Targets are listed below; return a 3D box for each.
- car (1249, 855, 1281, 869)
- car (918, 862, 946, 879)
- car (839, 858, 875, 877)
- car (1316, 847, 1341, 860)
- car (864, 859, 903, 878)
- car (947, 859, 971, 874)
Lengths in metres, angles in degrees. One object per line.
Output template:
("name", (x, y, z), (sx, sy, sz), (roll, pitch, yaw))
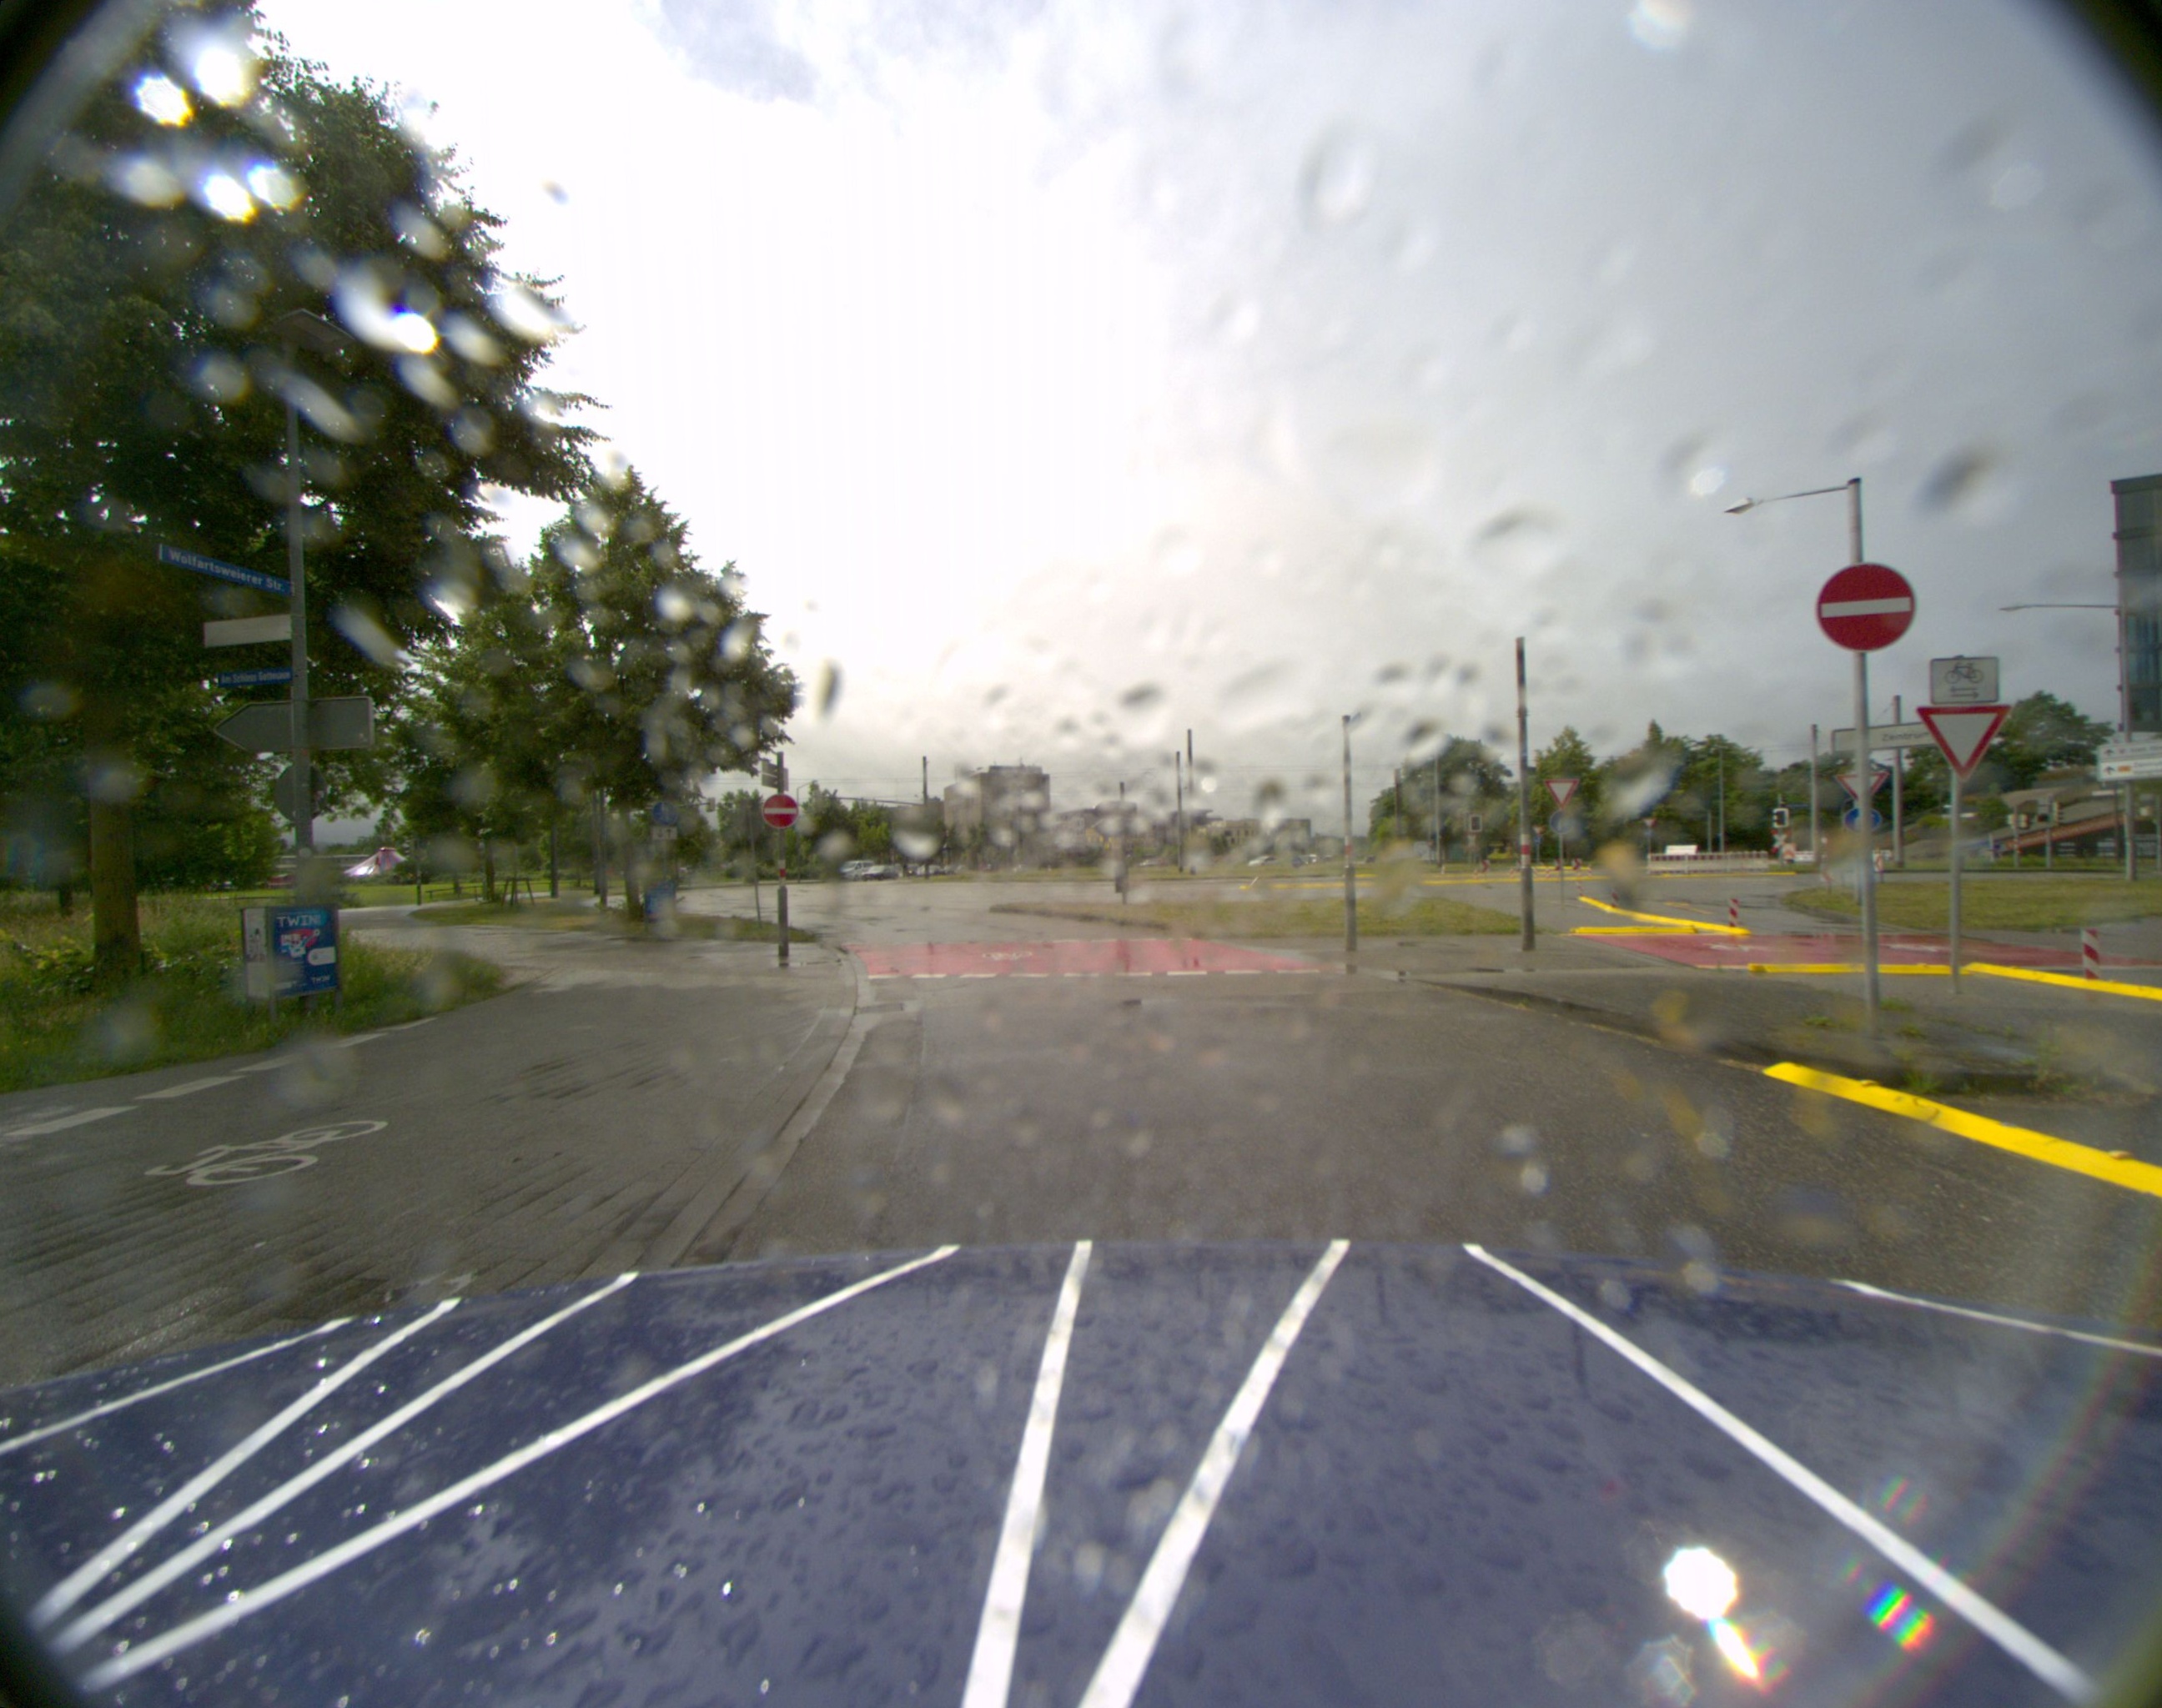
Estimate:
("car", (21.601, 0.963, 89.264), (4.127, 1.521, 1.665), (-1, -1, -45))
("car", (-15.524, 1.714, 79.428), (1.768, 1.586, 4.002), (-2, 0, 6))
("car", (-21.624, 1.270, 73.483), (1.890, 1.703, 4.232), (-1, 0, 6))
("car", (32.739, -0.061, 100.442), (3.487, 1.521, 1.665), (-1, -1, -45))
("car", (-17.795, 1.280, 68.555), (1.666, 1.678, 4.209), (-2, -1, 11))
("car", (-14.984, 1.496, 93.408), (1.867, 1.739, 4.002), (-1, 0, 6))
